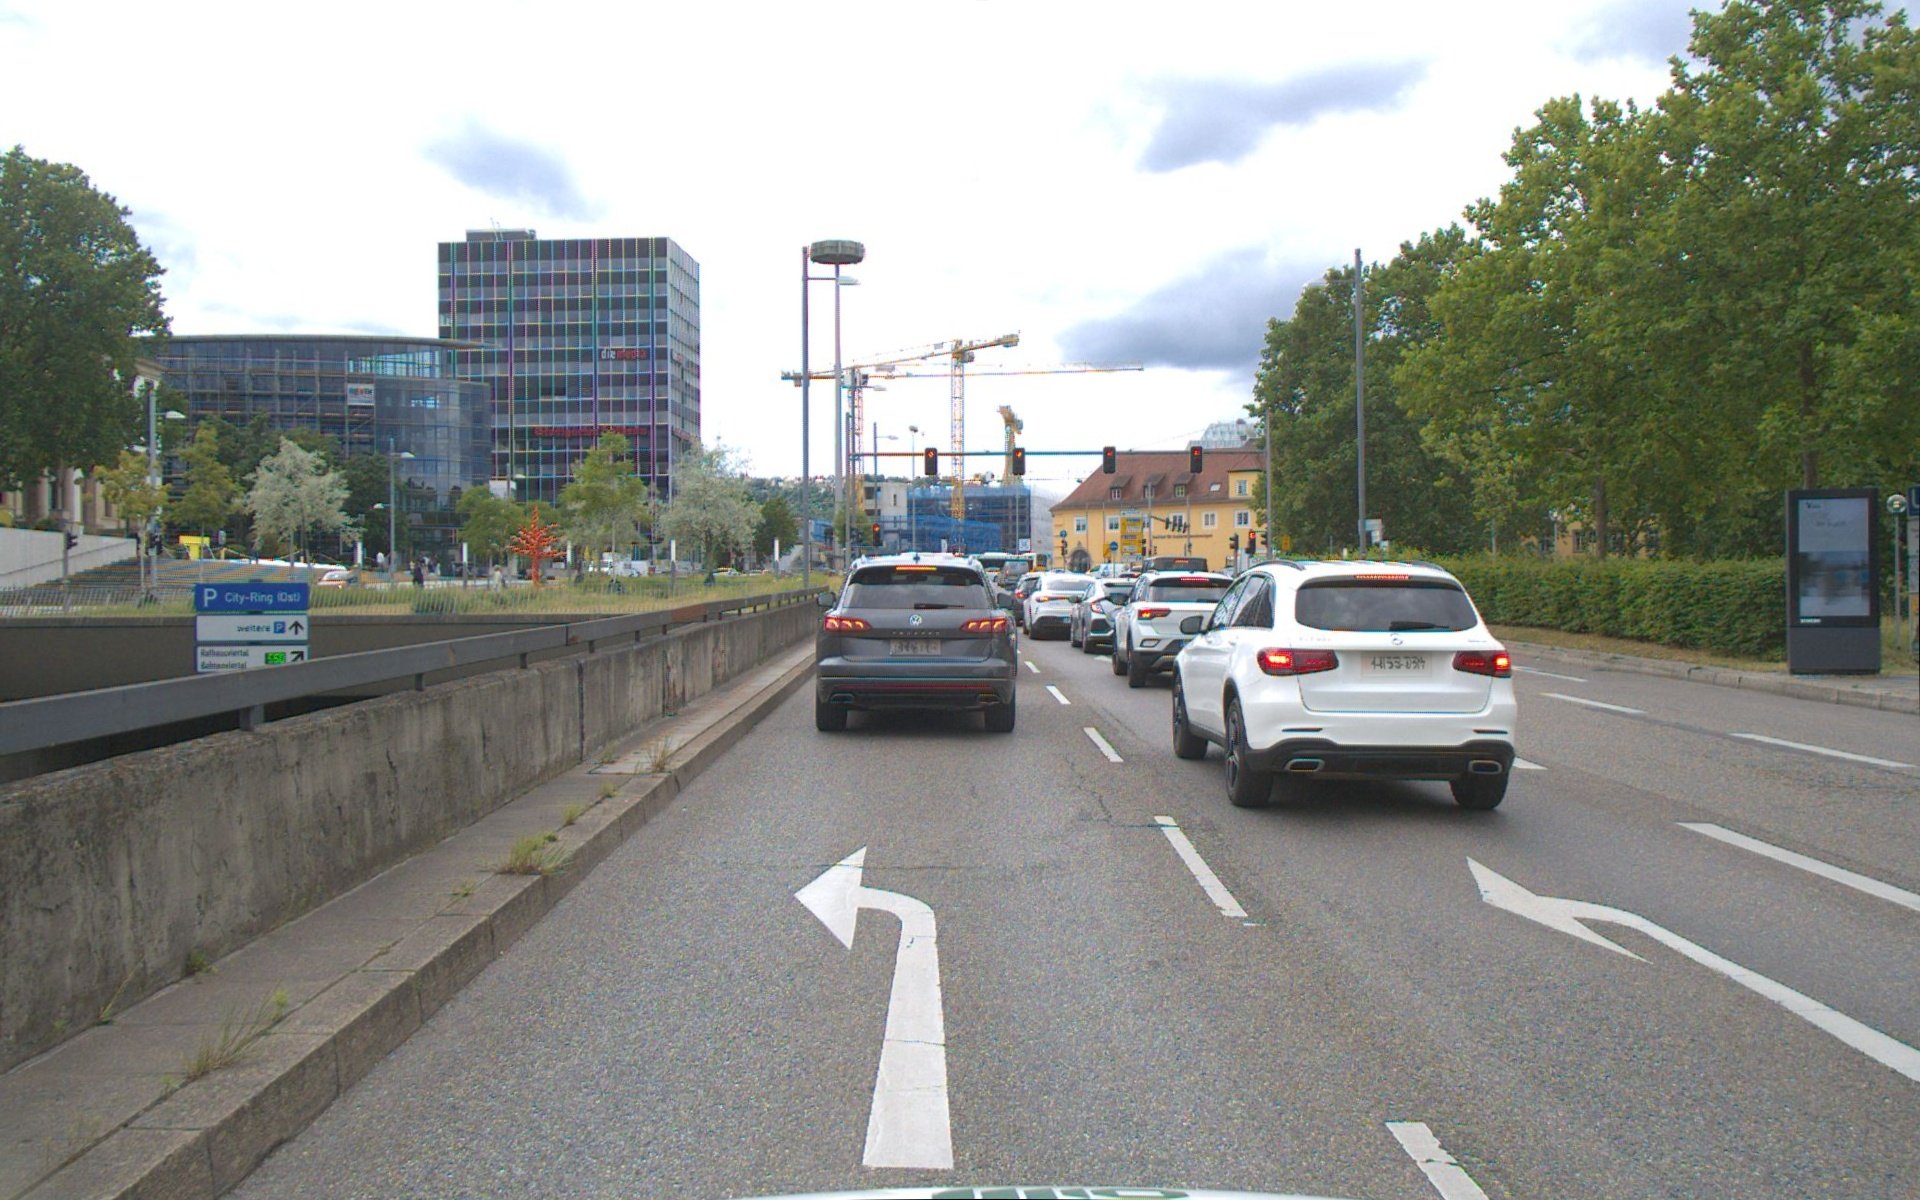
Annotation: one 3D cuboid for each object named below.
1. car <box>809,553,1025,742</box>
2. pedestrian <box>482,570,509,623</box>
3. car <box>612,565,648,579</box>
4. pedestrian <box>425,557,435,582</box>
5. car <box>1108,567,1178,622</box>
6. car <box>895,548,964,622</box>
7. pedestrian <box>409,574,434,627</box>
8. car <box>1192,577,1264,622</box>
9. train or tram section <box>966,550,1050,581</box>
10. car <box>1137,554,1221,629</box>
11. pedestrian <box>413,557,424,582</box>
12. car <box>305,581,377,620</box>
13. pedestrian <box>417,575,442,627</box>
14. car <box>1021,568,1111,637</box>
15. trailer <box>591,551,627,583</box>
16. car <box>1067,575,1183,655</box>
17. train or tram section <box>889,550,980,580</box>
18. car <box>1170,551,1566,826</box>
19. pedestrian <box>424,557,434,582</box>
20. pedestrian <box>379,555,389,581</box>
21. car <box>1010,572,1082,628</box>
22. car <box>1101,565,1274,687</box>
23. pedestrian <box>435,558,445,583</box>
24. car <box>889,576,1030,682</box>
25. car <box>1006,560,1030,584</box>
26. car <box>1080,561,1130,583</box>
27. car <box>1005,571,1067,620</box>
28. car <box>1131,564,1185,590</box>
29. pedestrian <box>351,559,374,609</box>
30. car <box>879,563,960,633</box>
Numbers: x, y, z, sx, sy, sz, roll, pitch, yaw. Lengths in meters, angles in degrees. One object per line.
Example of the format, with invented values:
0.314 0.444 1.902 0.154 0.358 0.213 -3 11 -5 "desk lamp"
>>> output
-0.423 0.397 16.854 1.912 1.680 3.999 1 1 -1 "car"
-18.313 -0.146 65.202 0.842 2.048 0.629 -1 2 -2 "pedestrian"
-39.661 -3.373 198.831 3.905 1.596 1.837 1 -1 21 "car"
-44.031 -2.507 137.451 0.728 2.048 0.788 -1 2 -21 "pedestrian"
6.080 -0.189 55.369 1.871 1.726 4.012 2 0 0 "car"
-0.894 -0.464 49.096 1.912 2.053 3.930 2 1 -1 "car"
-21.158 0.023 64.995 0.781 2.048 0.829 -1 2 -28 "pedestrian"
9.124 -0.030 56.510 1.722 1.472 3.632 2 0 -2 "car"
4.952 -3.631 173.116 8.769 3.062 2.587 1 -1 35 "train or tram section"
6.328 -0.240 48.179 1.871 2.049 4.012 2 0 0 "car"
-44.363 -2.524 135.529 0.728 2.048 1.108 -1 2 -21 "pedestrian"
-32.150 -0.002 86.055 2.131 1.887 4.735 0 1 -2 "car"
-21.128 0.030 65.883 0.781 2.048 0.829 -1 2 -28 "pedestrian"
2.469 0.044 39.541 1.887 1.556 4.490 0 0 0 "car"
-30.231 -2.863 142.580 1.996 2.650 5.508 2 2 -1 "trailer"
3.194 0.267 32.829 1.887 1.457 4.490 0 0 0 "car"
-2.831 -3.824 178.567 10.218 3.062 2.587 1 -1 35 "train or tram section"
2.780 0.510 12.364 1.887 1.682 4.490 0 1 0 "car"
-43.586 -2.506 135.811 0.728 2.048 0.788 -1 2 -21 "pedestrian"
-46.978 -2.605 134.871 0.728 2.048 0.788 -1 2 -21 "pedestrian"
2.472 -0.004 48.362 1.887 1.556 4.048 0 0 0 "car"
3.160 0.329 23.825 1.887 1.578 4.490 0 0 0 "car"
-43.122 -2.474 137.232 0.728 2.048 1.108 -1 2 -21 "pedestrian"
-0.045 0.371 24.834 1.912 1.408 3.930 2 1 -1 "car"
4.266 -2.069 121.990 1.586 1.656 4.000 2 0 0 "car"
14.226 -2.713 162.271 4.367 2.049 1.994 1 -1 33 "car"
2.485 -0.152 54.650 1.887 1.556 4.048 0 0 0 "car"
16.172 -1.881 134.937 3.921 2.049 1.992 1 -1 36 "car"
-25.032 -0.671 69.297 0.716 2.047 0.628 -1 5 -8 "pedestrian"
-1.002 -0.071 41.588 1.912 1.627 3.930 2 1 -1 "car"
